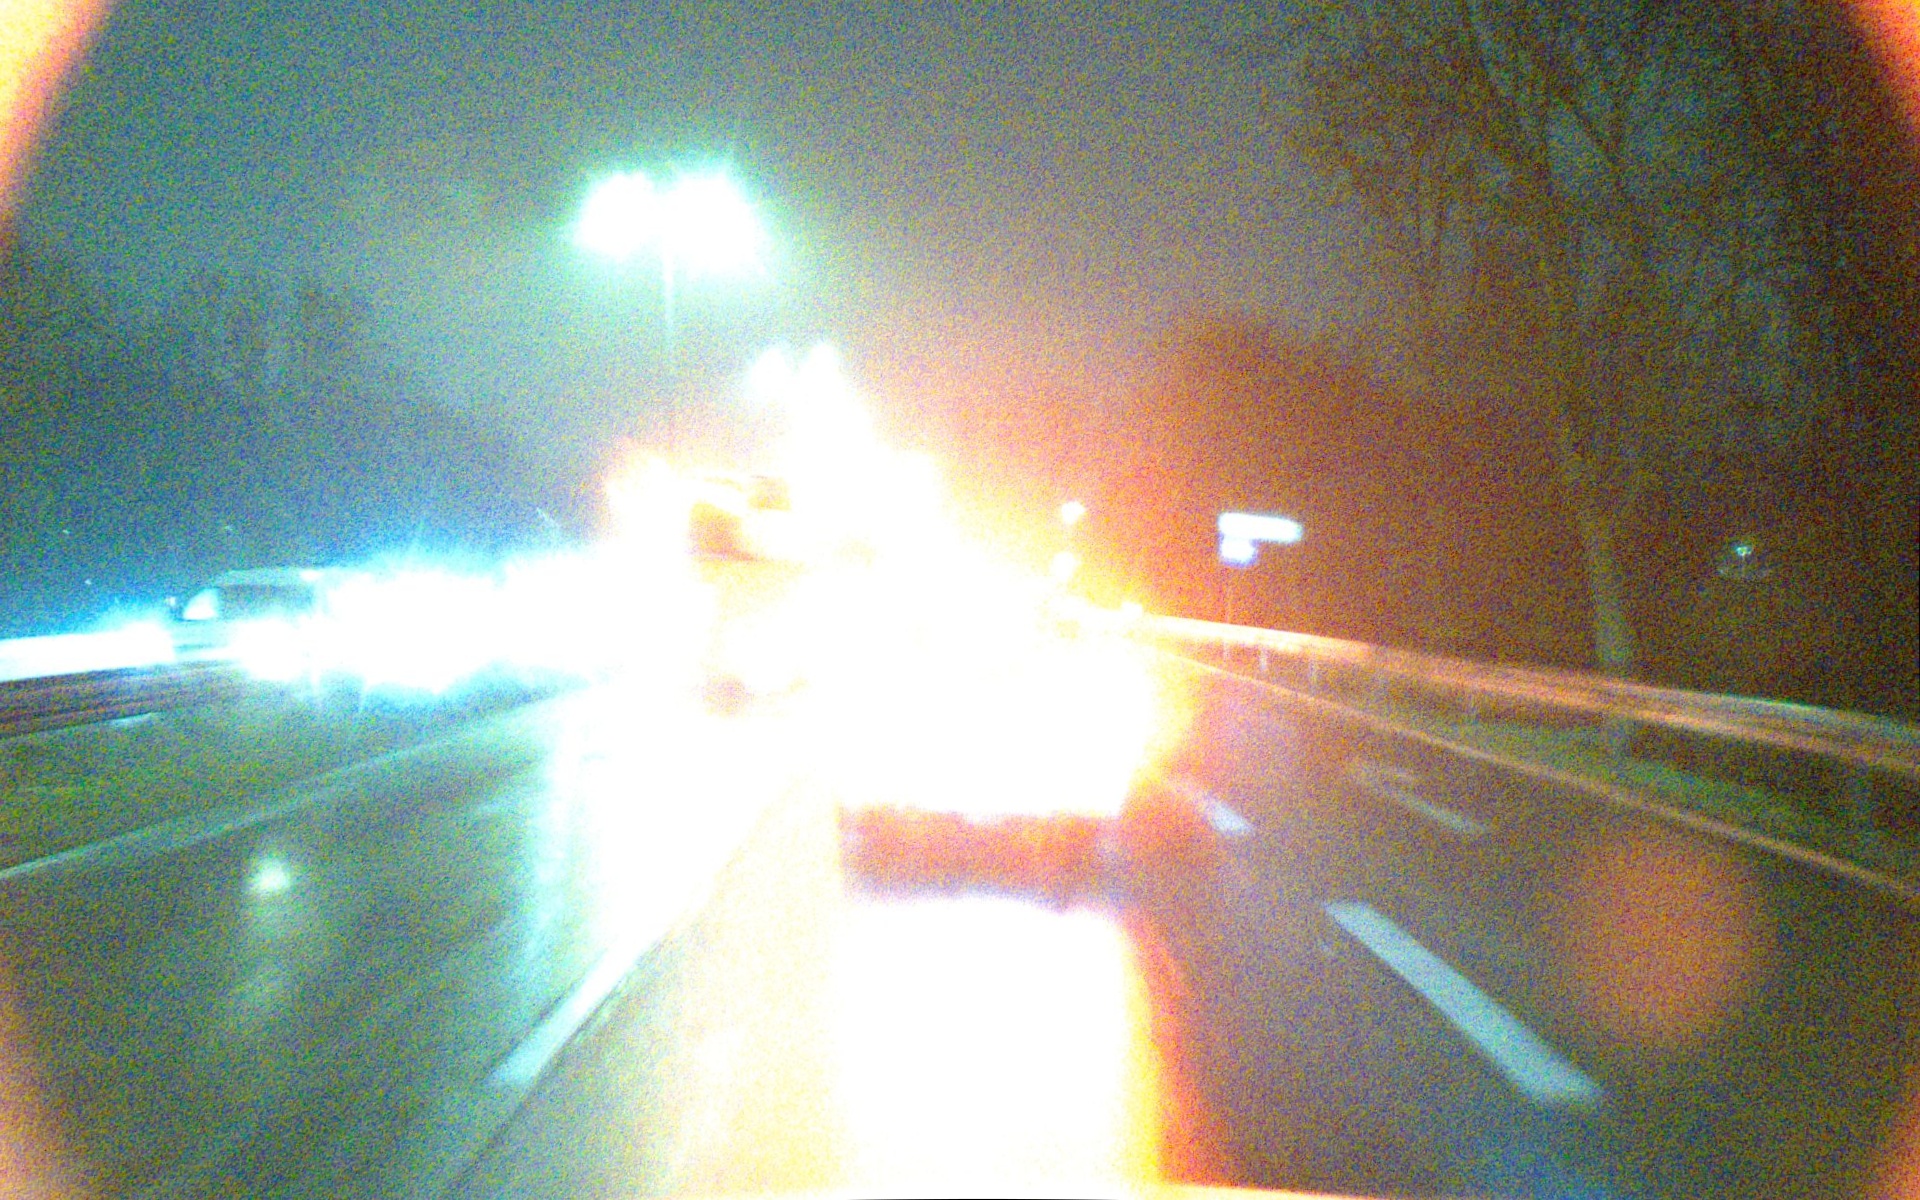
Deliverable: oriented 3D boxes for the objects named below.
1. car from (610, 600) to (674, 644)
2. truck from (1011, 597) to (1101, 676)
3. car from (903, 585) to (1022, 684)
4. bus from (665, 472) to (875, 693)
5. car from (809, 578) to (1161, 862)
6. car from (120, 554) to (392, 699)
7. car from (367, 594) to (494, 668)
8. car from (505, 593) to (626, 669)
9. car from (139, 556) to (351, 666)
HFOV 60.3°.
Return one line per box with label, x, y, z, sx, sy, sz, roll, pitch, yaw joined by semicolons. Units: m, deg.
car;-14.007;0.976;73.006;1.953;1.840;4.199;2;-1;0
truck;3.550;1.319;60.208;3.005;2.573;7.169;2;-1;4
car;0.042;0.530;26.967;1.784;1.487;3.715;1;0;0
bus;-3.064;-0.300;29.264;2.688;3.178;9.199;2;0;-1
car;0.195;0.662;10.918;1.904;1.517;3.717;1;0;2
car;-9.949;0.382;23.843;1.953;1.805;4.703;2;-1;-2
car;-14.070;0.823;44.258;1.953;1.805;4.703;2;-1;-2
car;-10.304;0.816;43.584;2.121;1.805;4.703;2;-1;-2
car;-13.144;0.230;30.753;1.953;1.805;4.703;2;-1;-2
